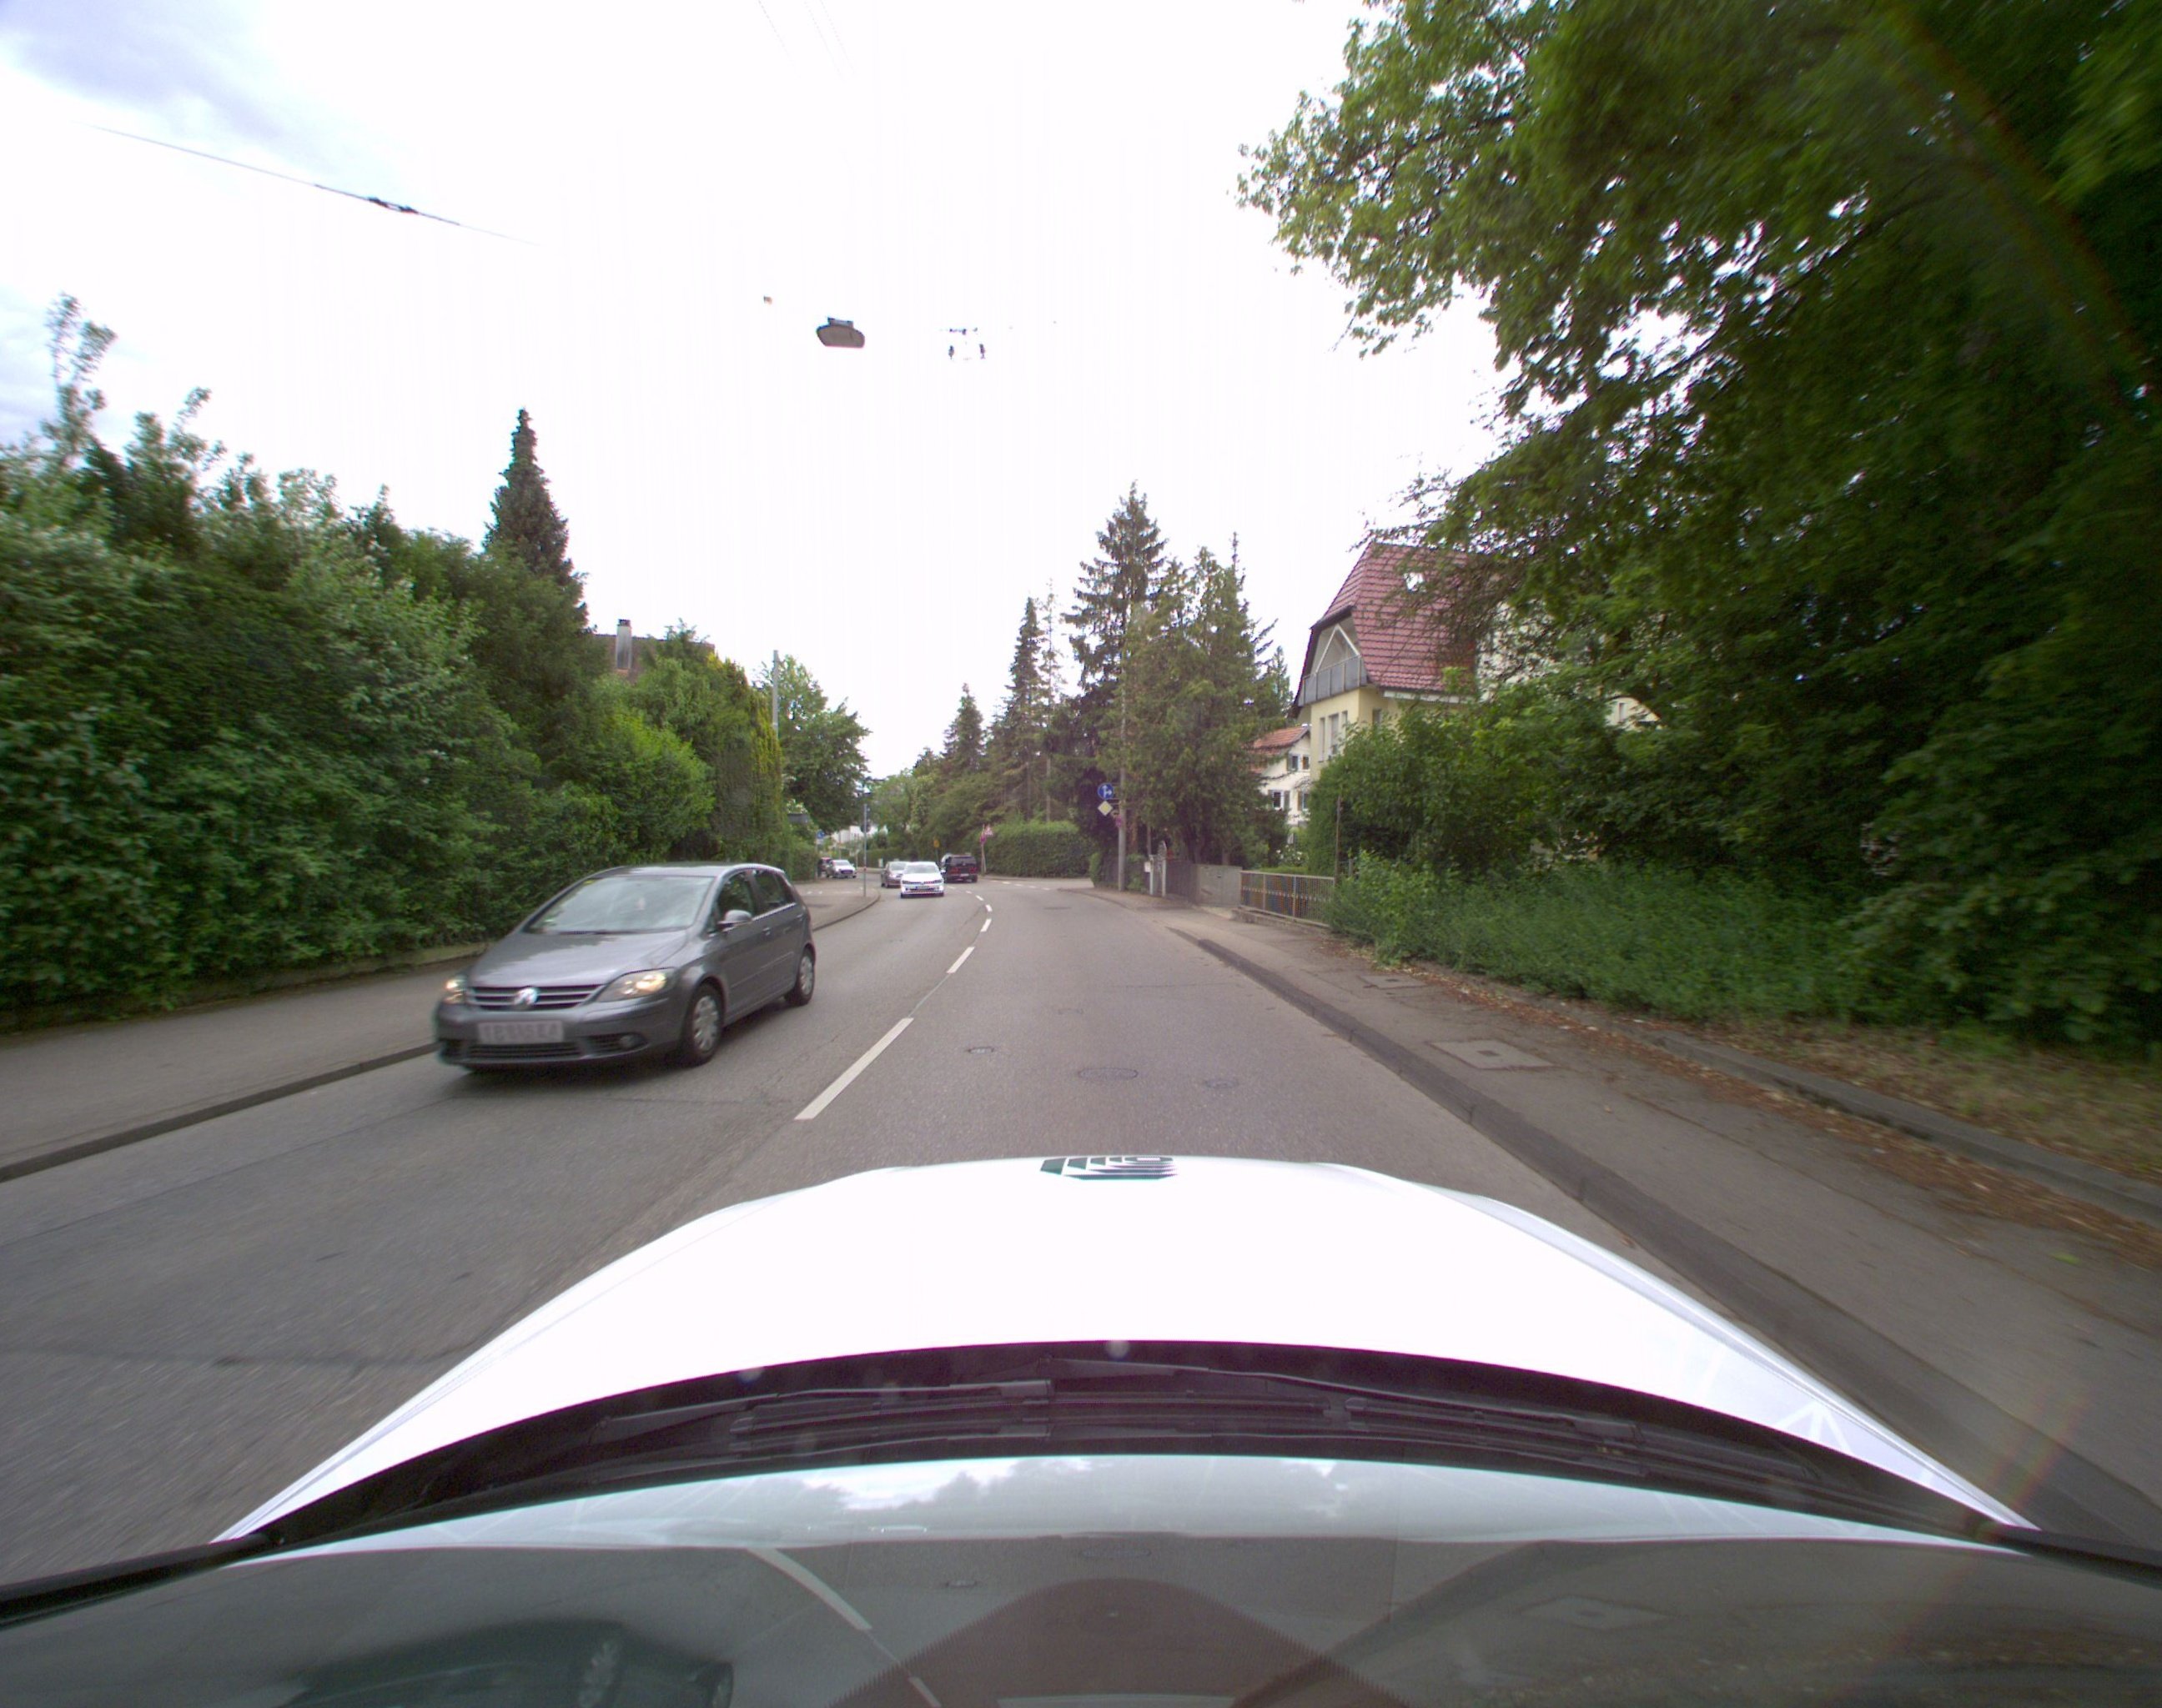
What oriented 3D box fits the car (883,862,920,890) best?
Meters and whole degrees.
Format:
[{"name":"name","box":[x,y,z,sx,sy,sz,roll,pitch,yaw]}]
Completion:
[{"name":"car","box":[-9.833,1.197,44.772,1.914,1.398,3.893,-1,0,-12]}]

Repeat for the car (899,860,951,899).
[{"name":"car","box":[-6.557,1.038,34.562,1.901,1.454,3.786,-3,0,-8]}]

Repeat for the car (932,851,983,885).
[{"name":"car","box":[-7.523,0.808,49.246,2.003,1.881,3.967,1,1,-25]}]

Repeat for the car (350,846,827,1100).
[{"name":"car","box":[-3.870,0.781,7.401,1.989,1.618,3.996,-2,0,-3]}]

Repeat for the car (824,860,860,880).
[{"name":"car","box":[-19.224,1.293,65.326,1.819,1.443,4.157,-1,-1,-30]}]

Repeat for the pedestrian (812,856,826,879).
[{"name":"pedestrian","box":[-19.110,0.964,59.451,0.634,1.662,0.908,1,-2,-41]}]

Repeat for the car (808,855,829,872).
[{"name":"car","box":[-26.957,0.962,83.631,1.897,1.706,3.977,1,-1,-17]}]

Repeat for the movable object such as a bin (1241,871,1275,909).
[{"name":"movable object such as a bin","box":[4.953,0.997,22.828,0.774,1.048,0.783,0,0,1]}]
